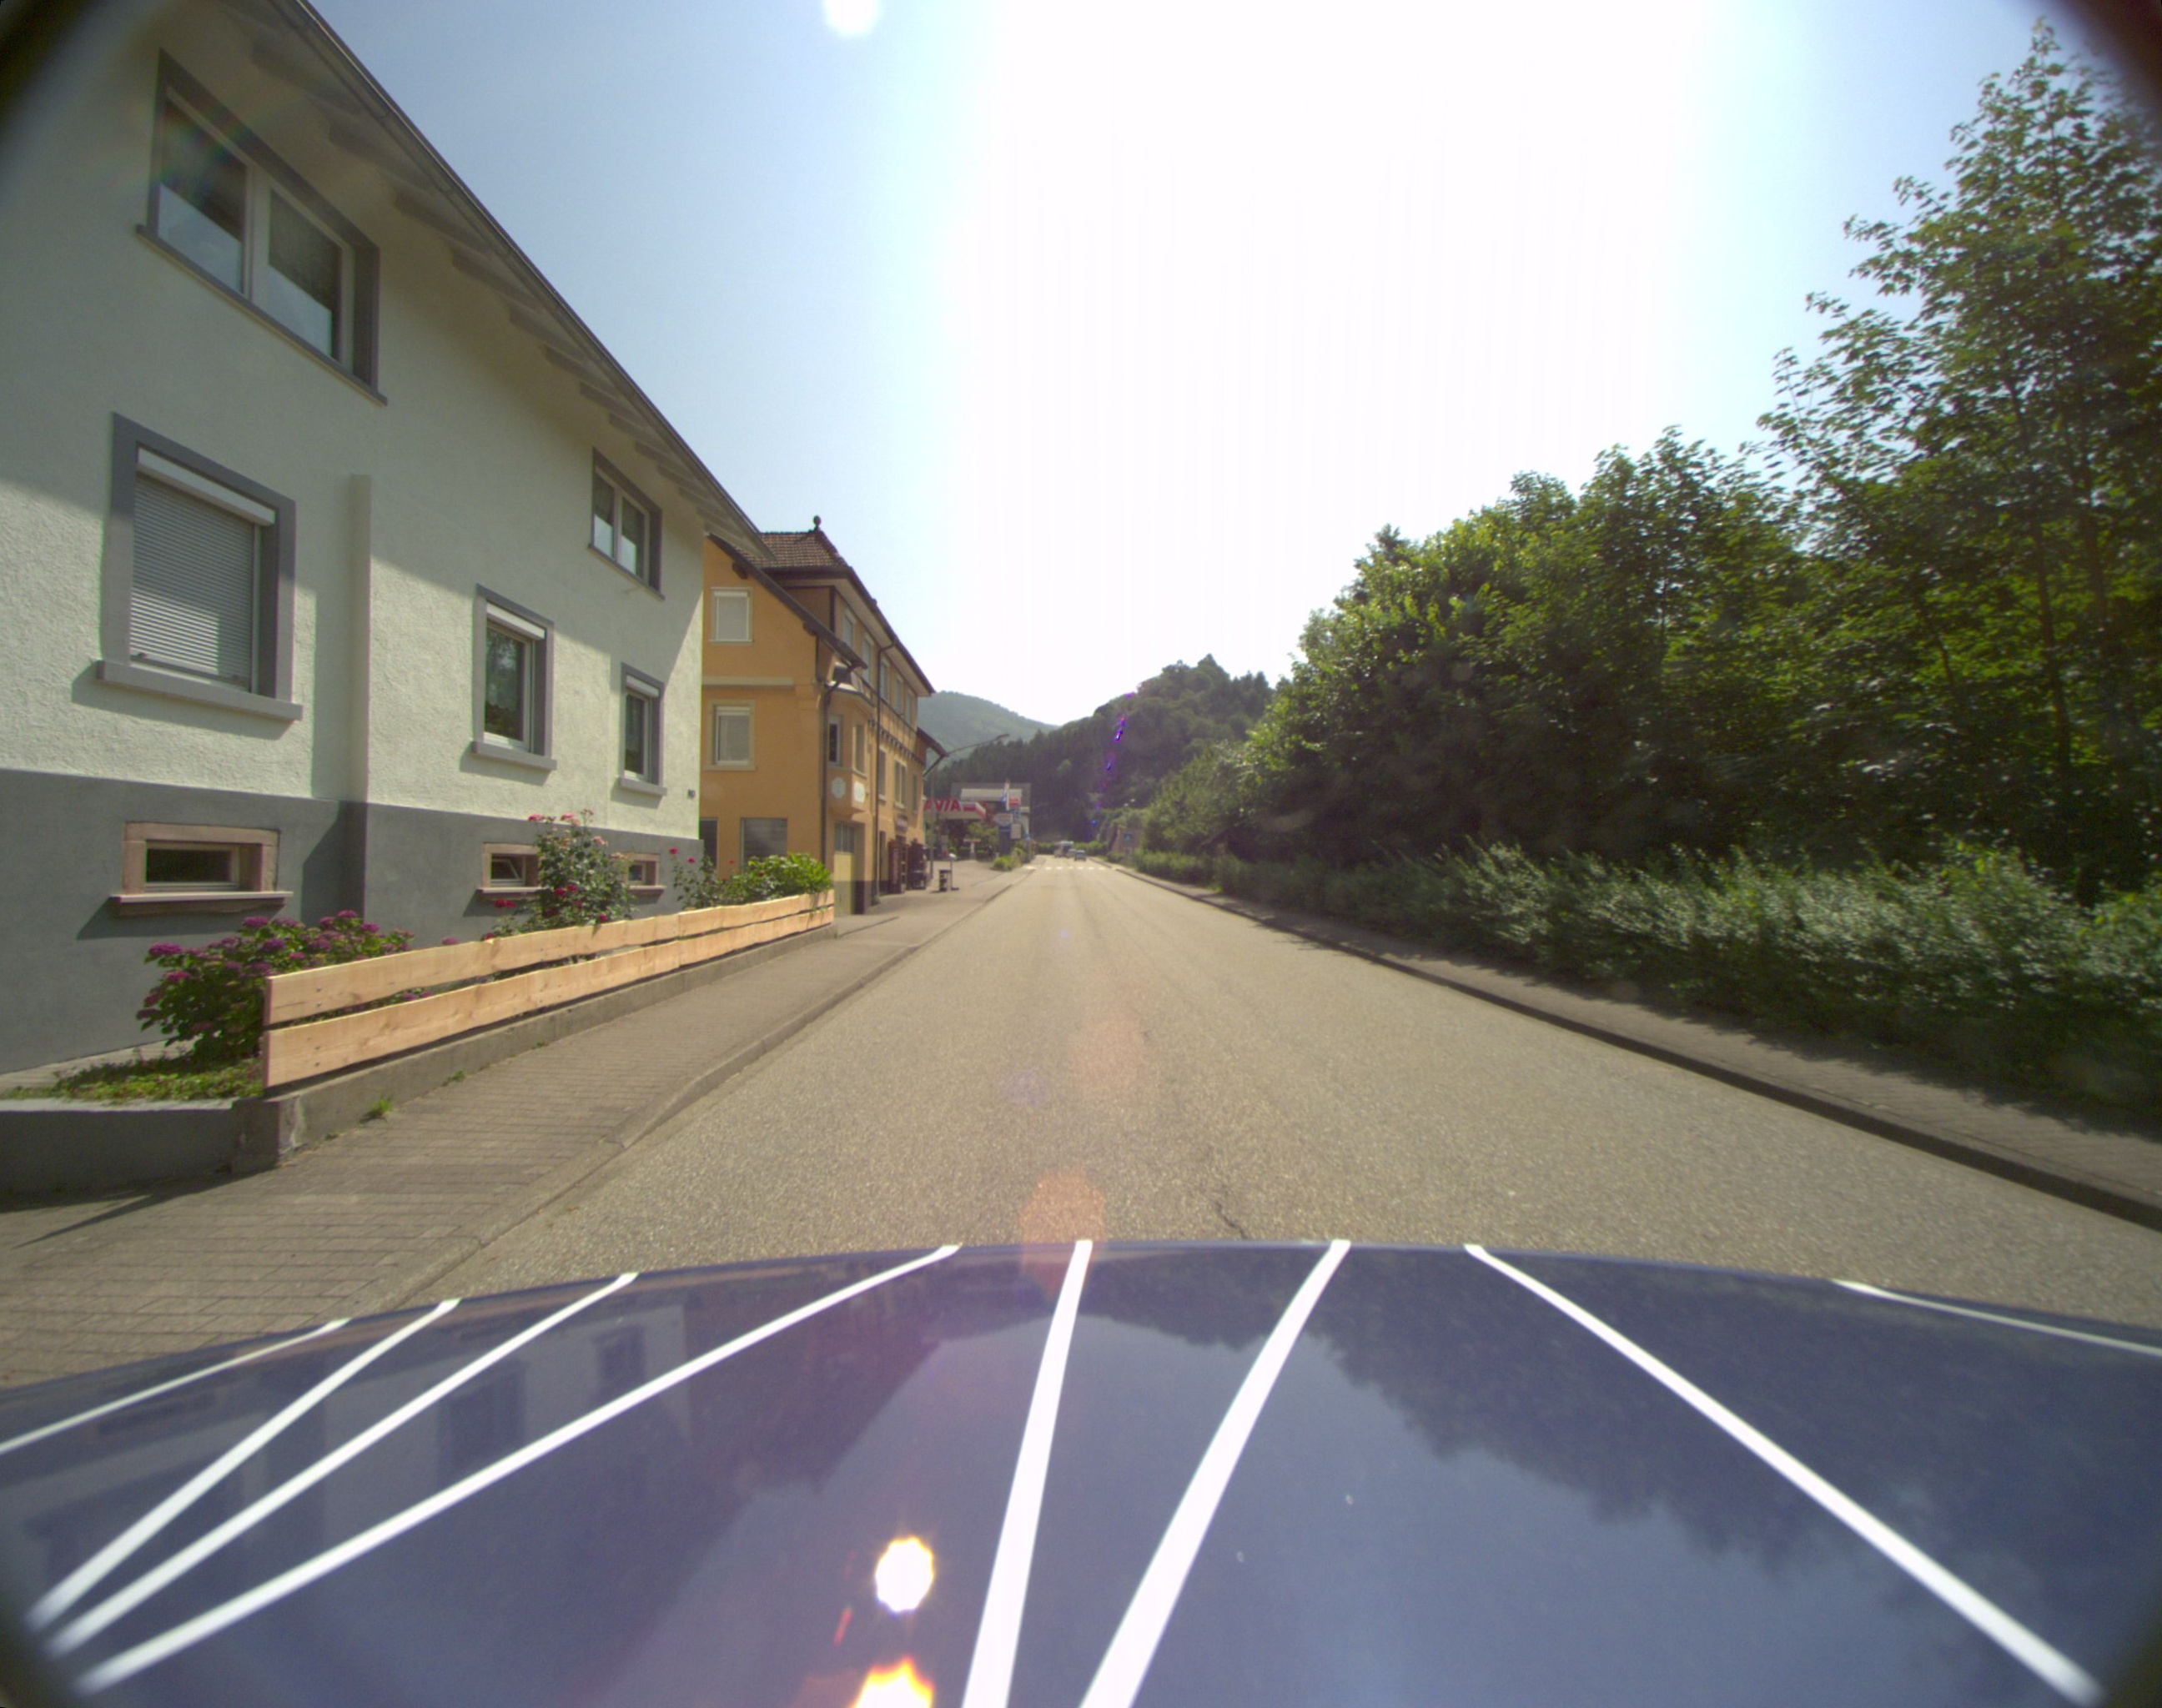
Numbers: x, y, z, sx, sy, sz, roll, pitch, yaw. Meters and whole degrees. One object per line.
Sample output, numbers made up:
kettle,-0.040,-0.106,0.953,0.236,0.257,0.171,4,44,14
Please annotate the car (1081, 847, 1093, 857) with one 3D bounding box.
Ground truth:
car,0.862,-0.285,109.251,1.594,1.474,3.757,2,0,0

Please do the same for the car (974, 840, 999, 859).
car,-8.500,-0.445,68.780,1.696,1.568,3.910,4,1,0

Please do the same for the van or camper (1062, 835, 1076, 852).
van or camper,-2.149,-1.818,136.926,2.364,2.936,8.049,2,0,-1

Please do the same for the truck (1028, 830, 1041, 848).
truck,-10.088,-3.255,165.425,2.652,3.561,8.189,2,1,-3

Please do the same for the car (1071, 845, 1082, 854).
car,-0.787,-0.703,126.099,1.609,1.398,3.826,3,1,-1

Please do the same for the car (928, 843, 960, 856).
car,-14.179,-0.445,78.612,3.081,1.138,1.334,4,1,-2
